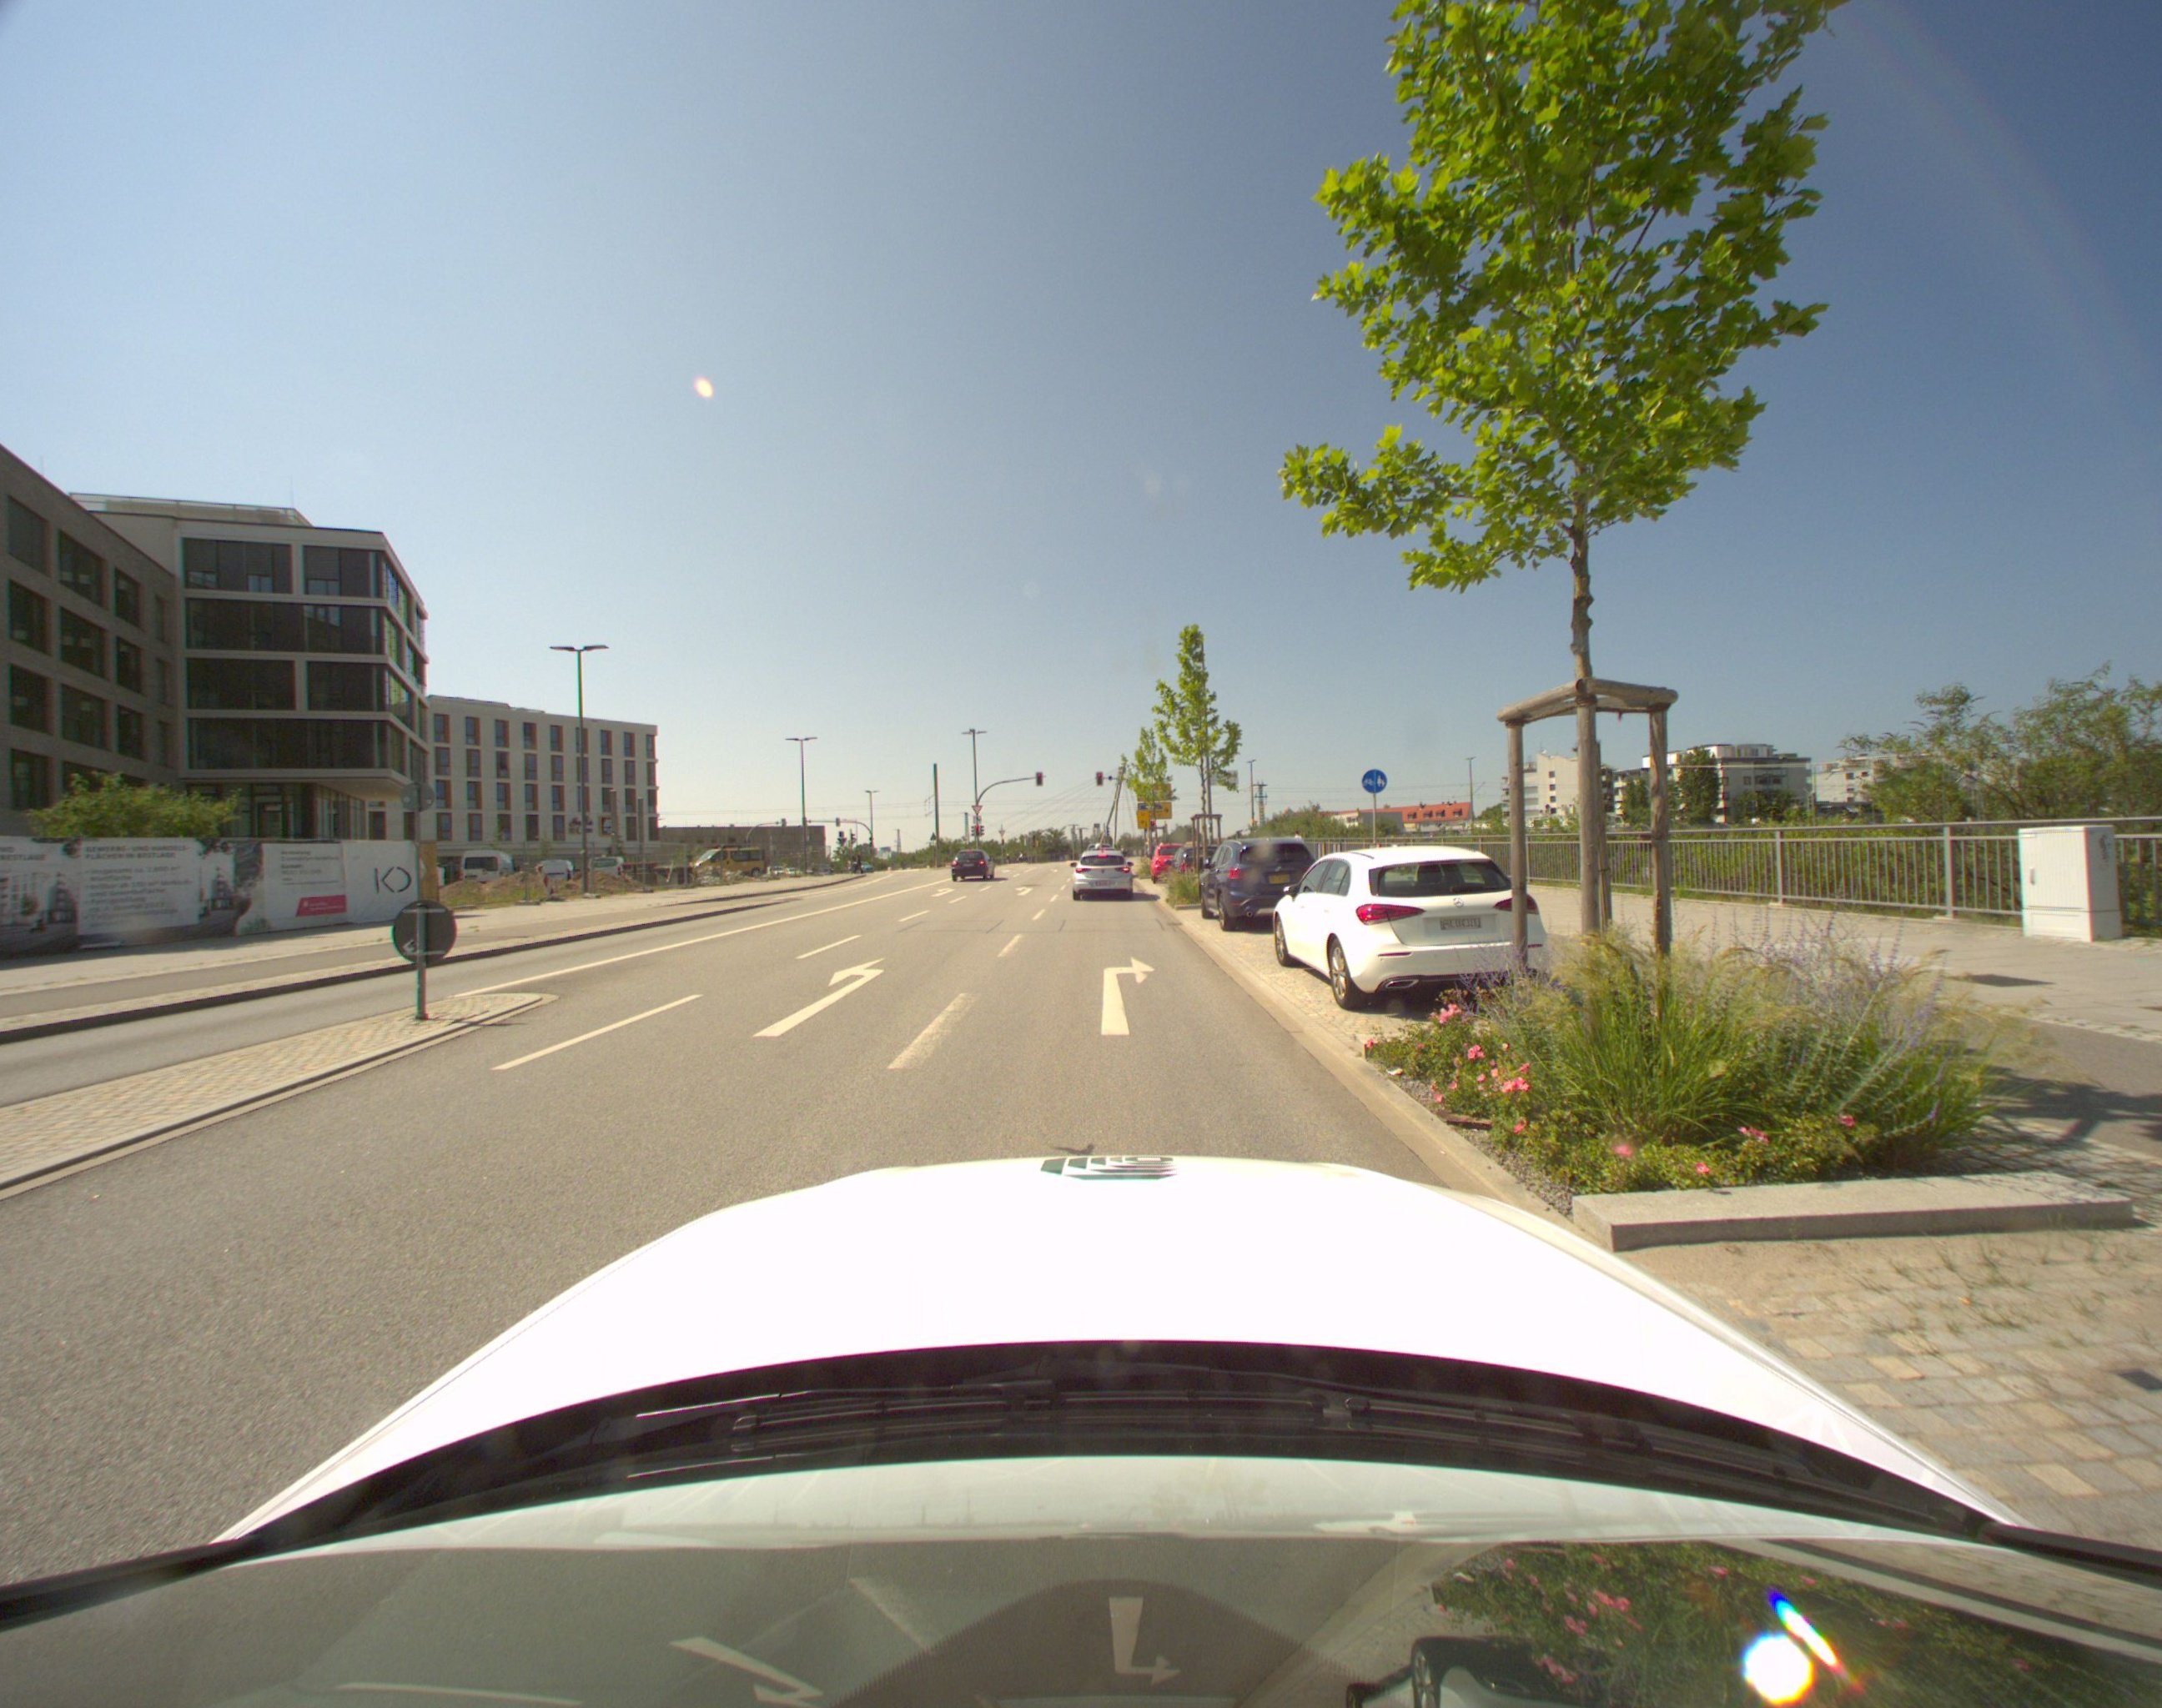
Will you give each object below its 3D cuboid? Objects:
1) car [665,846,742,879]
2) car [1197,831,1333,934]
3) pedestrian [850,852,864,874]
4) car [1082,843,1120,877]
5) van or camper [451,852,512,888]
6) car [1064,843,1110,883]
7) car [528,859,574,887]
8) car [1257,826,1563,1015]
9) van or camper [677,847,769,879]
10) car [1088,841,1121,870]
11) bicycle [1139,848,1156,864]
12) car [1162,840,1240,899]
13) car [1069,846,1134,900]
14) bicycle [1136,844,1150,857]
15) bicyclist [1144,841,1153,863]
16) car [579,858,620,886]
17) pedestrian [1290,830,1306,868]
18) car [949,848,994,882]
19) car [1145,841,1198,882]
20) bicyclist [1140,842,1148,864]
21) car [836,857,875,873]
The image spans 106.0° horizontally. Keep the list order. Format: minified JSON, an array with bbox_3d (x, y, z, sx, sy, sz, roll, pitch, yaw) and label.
[{"bbox_3d":[-24.334,0.523,52.574,1.974,2.013,4.025,-2,0,40],"label":"car"},{"bbox_3d":[3.320,0.459,15.370,1.815,1.616,3.613,-3,0,2],"label":"car"},{"bbox_3d":[-16.907,0.697,61.467,0.843,1.646,0.826,-1,0,-4],"label":"pedestrian"},{"bbox_3d":[1.019,0.247,41.203,1.771,1.568,4.002,-2,1,1],"label":"car"},{"bbox_3d":[-35.767,0.953,48.726,2.253,2.014,4.557,2,-2,-29],"label":"van or camper"},{"bbox_3d":[0.298,0.335,34.426,1.771,1.568,4.002,-2,1,1],"label":"car"},{"bbox_3d":[-33.122,1.164,50.968,2.038,1.672,4.557,-1,0,-29],"label":"car"},{"bbox_3d":[3.180,0.553,8.859,1.690,1.475,4.207,-3,0,2],"label":"car"},{"bbox_3d":[-21.865,0.583,49.883,1.975,1.897,4.745,-2,-2,44],"label":"van or camper"},{"bbox_3d":[1.350,0.068,47.279,1.771,1.568,4.002,-2,1,1],"label":"car"},{"bbox_3d":[5.148,0.130,62.707,1.237,1.197,0.481,0,-2,-5],"label":"bicycle"},{"bbox_3d":[3.579,0.436,24.988,1.772,1.503,4.001,-6,0,1],"label":"car"},{"bbox_3d":[0.636,0.516,25.009,1.771,1.442,4.002,-2,1,1],"label":"car"},{"bbox_3d":[5.547,-0.308,72.828,1.237,1.197,0.481,0,-2,-5],"label":"bicycle"},{"bbox_3d":[5.102,-0.125,61.346,0.591,1.644,0.312,0,-2,-5],"label":"bicyclist"},{"bbox_3d":[-30.644,1.102,51.902,2.038,1.672,4.557,-1,0,-29],"label":"car"},{"bbox_3d":[8.958,-0.202,33.642,0.531,1.575,0.524,-1,-2,1],"label":"pedestrian"},{"bbox_3d":[-5.096,0.475,38.403,1.615,1.416,3.726,-3,1,-1],"label":"car"},{"bbox_3d":[3.642,0.302,33.333,1.771,1.503,4.001,-3,0,1],"label":"car"},{"bbox_3d":[4.840,-0.083,62.703,0.591,1.644,0.312,0,-2,-5],"label":"bicyclist"},{"bbox_3d":[-26.899,1.301,97.009,3.958,1.772,2.007,-1,-2,14],"label":"car"}]
